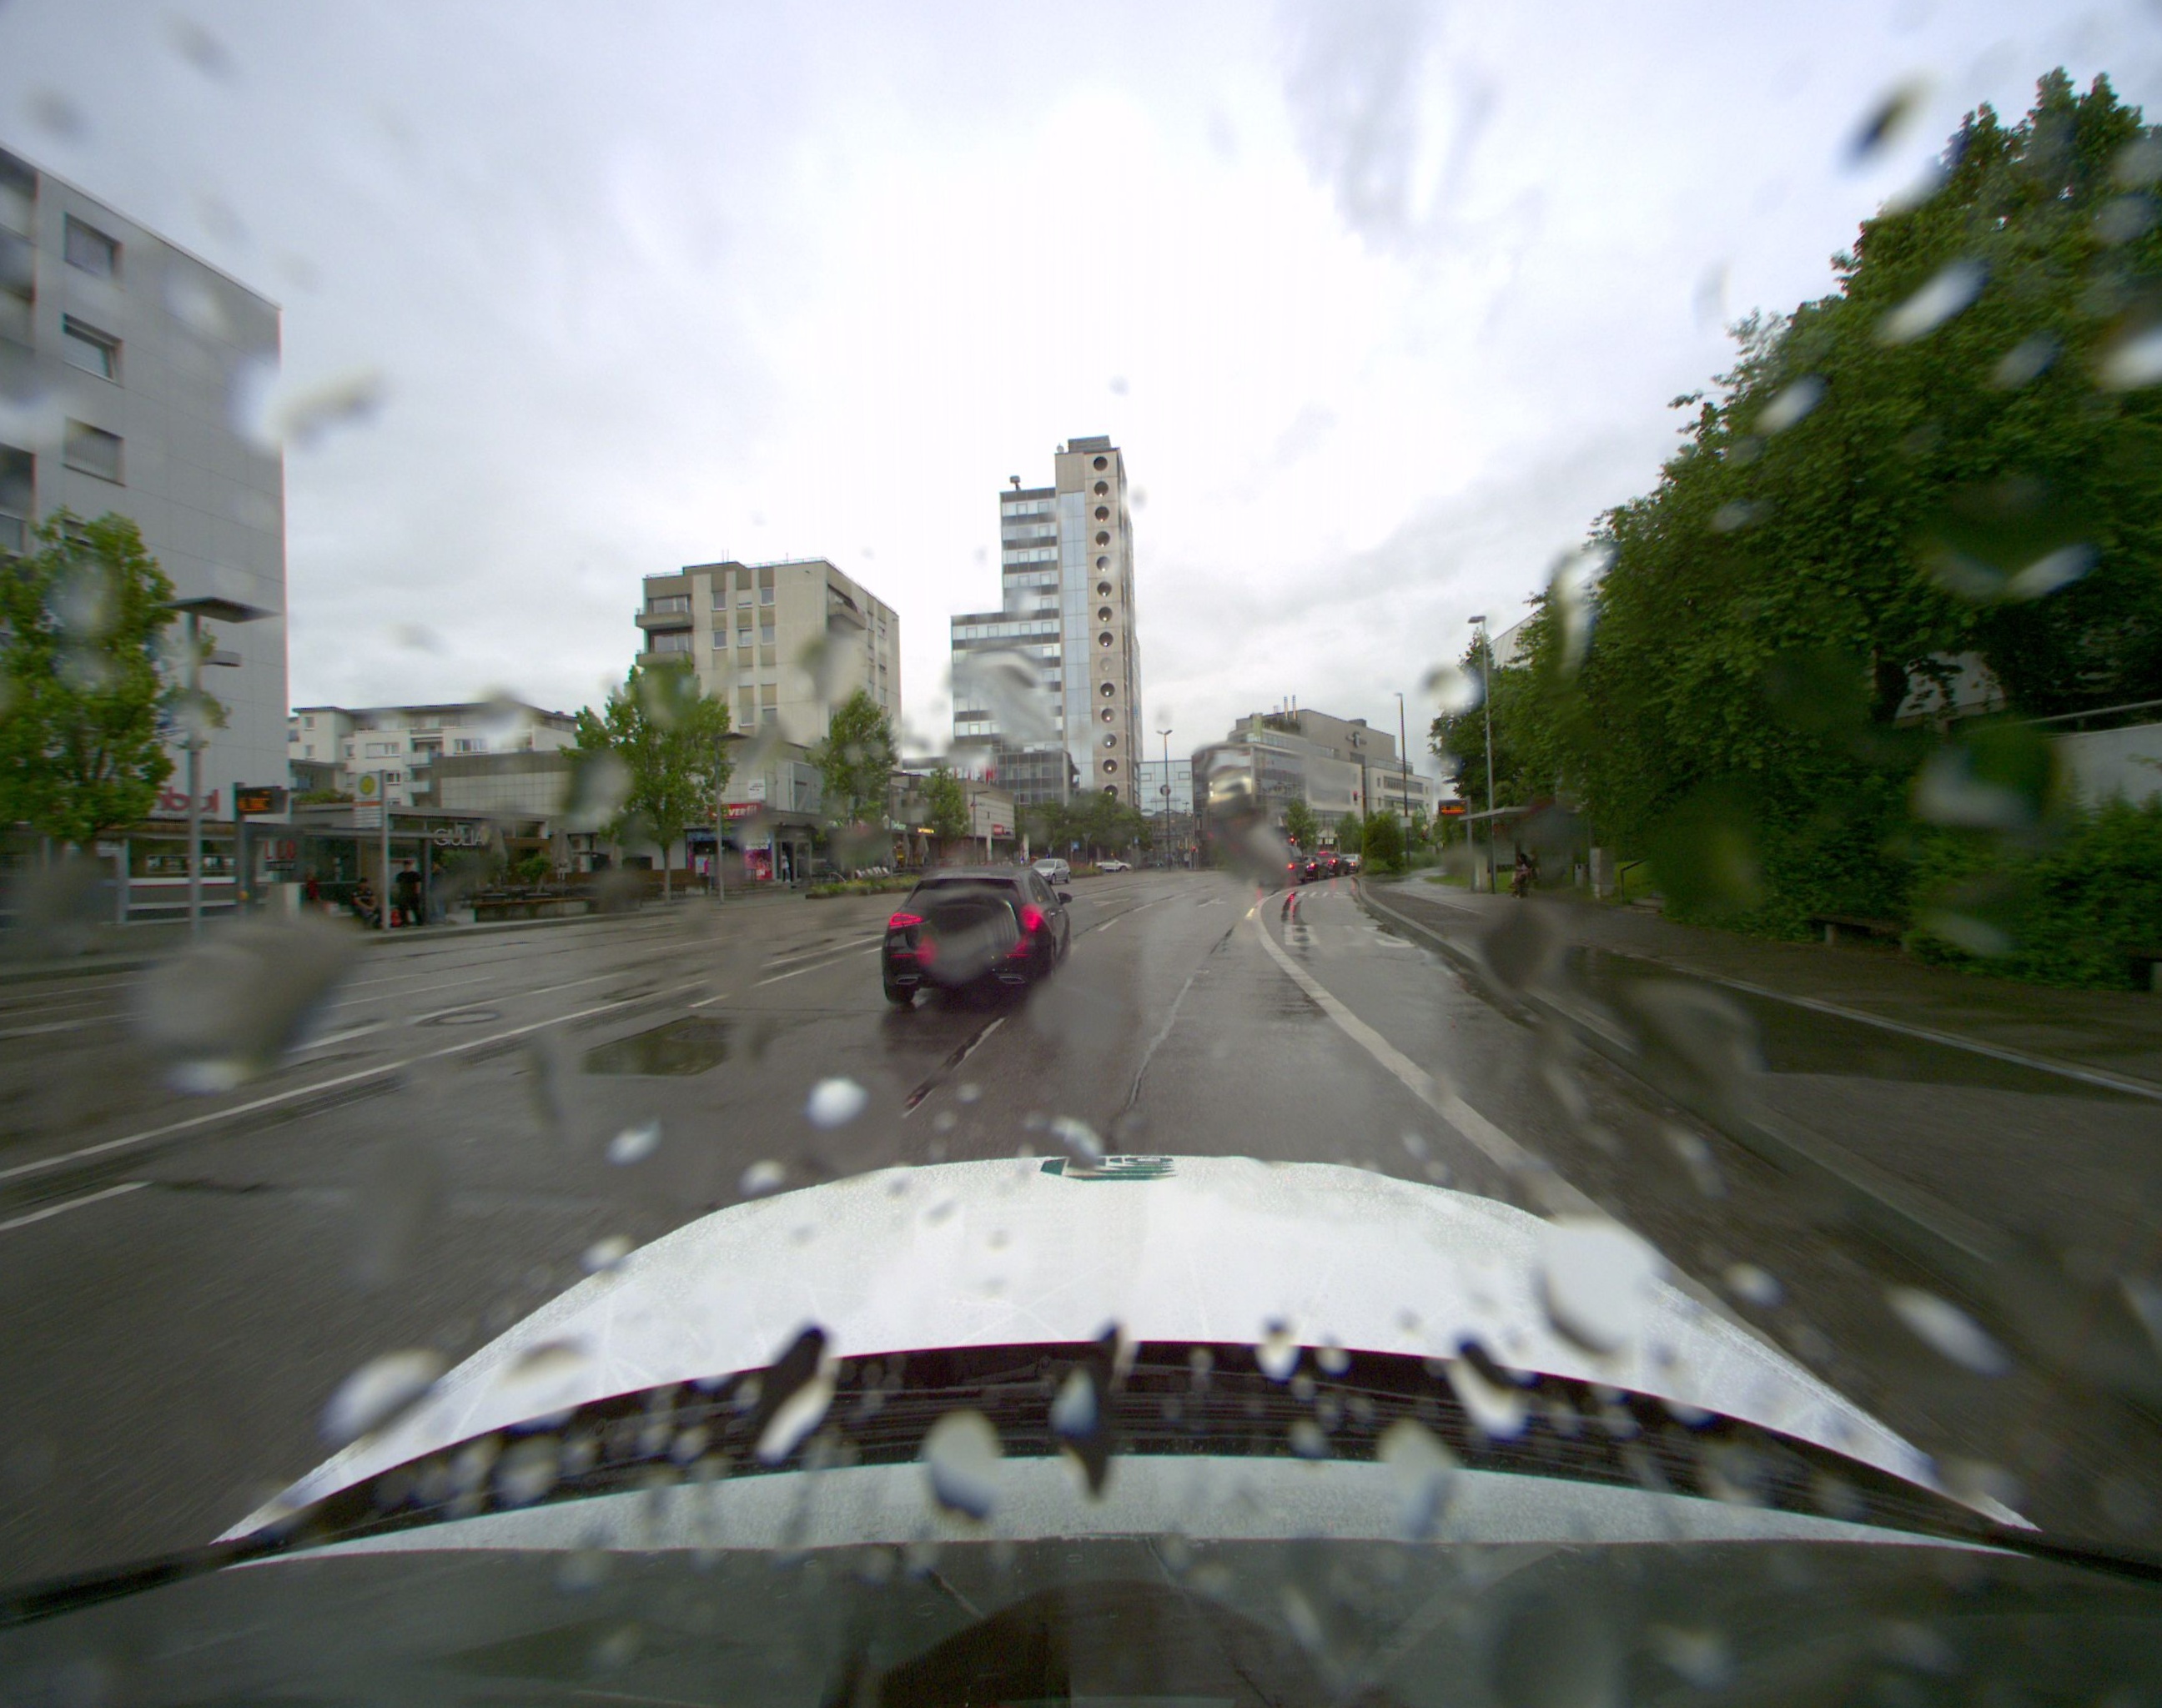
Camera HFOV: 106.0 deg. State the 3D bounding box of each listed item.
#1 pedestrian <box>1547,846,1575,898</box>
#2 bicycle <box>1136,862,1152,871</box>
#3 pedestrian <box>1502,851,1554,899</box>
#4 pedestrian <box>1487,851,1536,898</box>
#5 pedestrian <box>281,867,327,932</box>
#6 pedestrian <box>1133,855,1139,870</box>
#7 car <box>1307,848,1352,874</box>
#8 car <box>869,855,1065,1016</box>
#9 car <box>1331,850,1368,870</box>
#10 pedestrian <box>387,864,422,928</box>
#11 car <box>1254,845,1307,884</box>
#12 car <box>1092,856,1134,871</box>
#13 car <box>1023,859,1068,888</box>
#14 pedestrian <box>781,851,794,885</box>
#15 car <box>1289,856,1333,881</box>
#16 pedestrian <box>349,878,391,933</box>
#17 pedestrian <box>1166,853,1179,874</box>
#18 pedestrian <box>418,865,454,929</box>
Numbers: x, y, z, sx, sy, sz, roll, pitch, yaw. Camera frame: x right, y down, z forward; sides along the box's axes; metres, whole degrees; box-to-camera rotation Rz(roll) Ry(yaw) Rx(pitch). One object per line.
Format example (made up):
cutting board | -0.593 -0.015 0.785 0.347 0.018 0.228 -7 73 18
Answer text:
pedestrian | 12.898 0.489 21.886 0.546 1.365 0.407 -3 -1 -39
bicycle | 9.127 1.759 118.666 2.261 1.247 0.678 -2 -1 7
pedestrian | 12.663 0.593 23.098 1.024 1.281 0.693 -4 -1 8
pedestrian | 12.592 0.600 23.859 1.024 1.281 0.693 -4 -1 8
pedestrian | -18.317 1.057 19.208 0.535 1.505 0.612 -1 -1 -13
pedestrian | 7.580 1.225 112.419 0.762 2.014 0.712 -1 -1 -8
car | 16.586 0.436 54.231 1.883 1.621 4.362 -1 0 30
car | -1.145 0.792 9.826 1.810 1.530 3.811 -1 0 0
car | 19.936 0.443 60.269 1.618 1.448 4.295 -1 -1 32
pedestrian | -17.750 1.098 21.377 0.531 1.659 0.481 -1 -1 16
car | 10.308 0.533 41.793 1.978 1.894 4.611 -1 -1 22
car | 3.472 1.038 87.912 4.161 1.595 1.878 -1 0 15
car | -1.945 1.068 45.993 1.689 1.466 4.114 -3 -1 9
pedestrian | -16.196 0.773 44.908 0.422 1.848 0.504 -2 -1 20
car | 13.641 0.811 48.115 1.616 1.386 4.542 -1 0 27
pedestrian | -17.954 1.299 20.569 0.531 1.352 0.581 -1 -1 16
pedestrian | 9.092 0.944 81.055 1.157 2.014 1.329 -1 -1 2
pedestrian | -17.026 1.117 21.500 0.475 1.659 0.538 -1 -1 11
